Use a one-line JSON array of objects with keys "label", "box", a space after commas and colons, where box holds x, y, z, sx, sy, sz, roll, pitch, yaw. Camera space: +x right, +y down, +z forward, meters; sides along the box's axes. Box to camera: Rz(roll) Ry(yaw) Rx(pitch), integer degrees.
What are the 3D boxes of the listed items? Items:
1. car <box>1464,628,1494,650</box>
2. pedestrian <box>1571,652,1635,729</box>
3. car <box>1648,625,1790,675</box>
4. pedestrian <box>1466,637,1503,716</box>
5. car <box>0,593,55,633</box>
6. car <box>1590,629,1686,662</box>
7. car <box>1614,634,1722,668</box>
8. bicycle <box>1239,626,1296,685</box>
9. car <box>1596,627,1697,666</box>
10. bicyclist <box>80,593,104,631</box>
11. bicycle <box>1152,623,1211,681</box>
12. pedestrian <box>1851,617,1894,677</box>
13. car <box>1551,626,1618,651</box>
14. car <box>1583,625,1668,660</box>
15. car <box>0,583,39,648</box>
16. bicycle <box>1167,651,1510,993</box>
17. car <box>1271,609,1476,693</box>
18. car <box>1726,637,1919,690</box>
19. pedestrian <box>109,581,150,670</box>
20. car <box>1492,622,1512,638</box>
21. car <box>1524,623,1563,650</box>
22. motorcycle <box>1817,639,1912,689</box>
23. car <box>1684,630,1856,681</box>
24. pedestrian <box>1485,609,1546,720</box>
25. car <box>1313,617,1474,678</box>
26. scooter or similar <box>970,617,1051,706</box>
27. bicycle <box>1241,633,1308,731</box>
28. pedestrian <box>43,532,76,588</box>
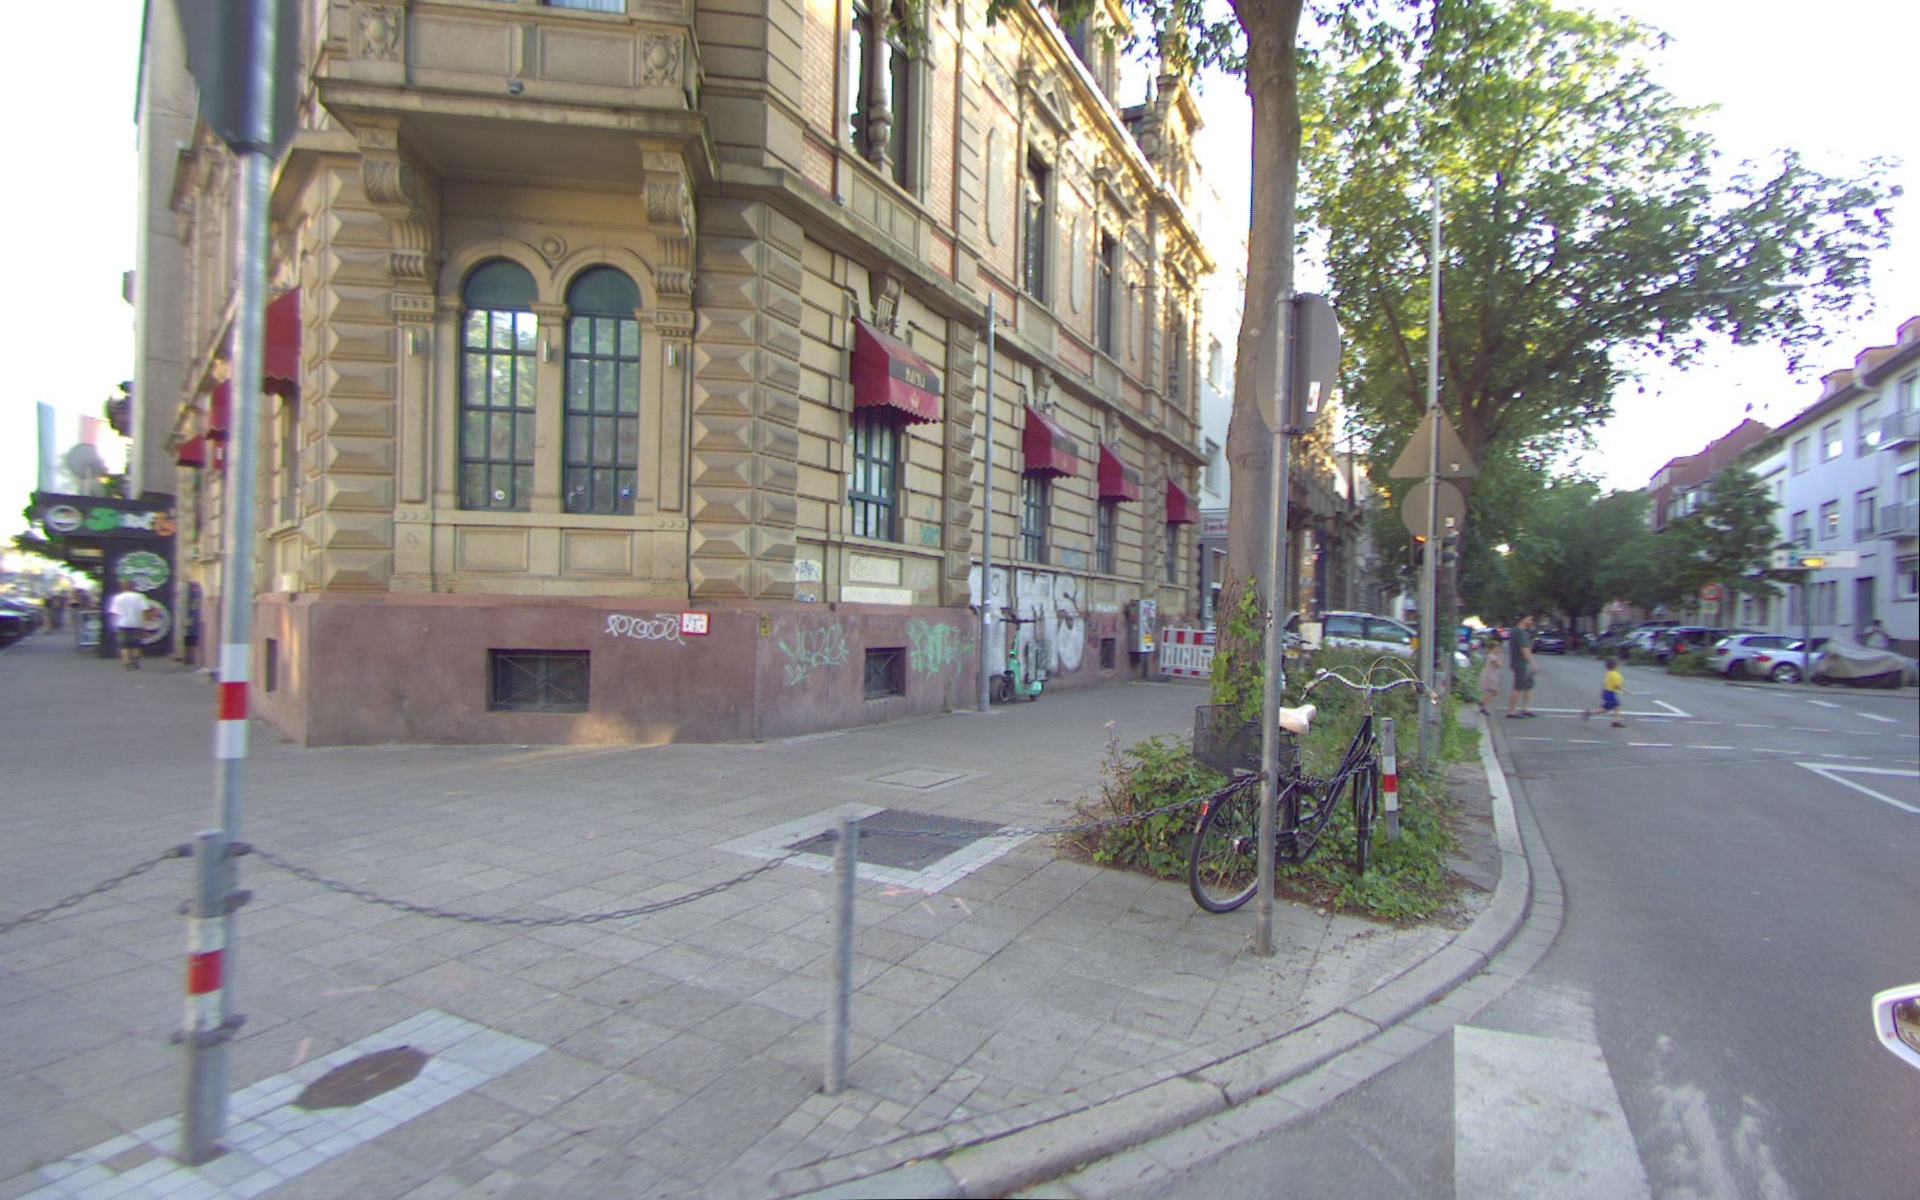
[{"label": "car", "box": [41.406, 3.075, 80.221, 1.874, 1.598, 3.989, 2, -1, 25]}, {"label": "pedestrian", "box": [10.228, 1.421, 16.009, 0.822, 1.136, 0.566, 1, 0, 32]}, {"label": "car", "box": [28.185, 1.837, 37.448, 3.953, 1.713, 1.705, 0, -1, 27]}, {"label": "pedestrian", "box": [9.356, 1.344, 17.910, 0.532, 1.353, 0.505, 1, 0, 32]}, {"label": "car", "box": [-44.839, 0.570, 45.960, 4.791, 1.797, 1.891, 2, -1, -34]}, {"label": "car", "box": [35.266, 2.349, 52.352, 3.953, 1.550, 1.705, 1, -1, 27]}, {"label": "car", "box": [33.387, 2.384, 47.520, 3.953, 1.428, 1.705, 0, -1, 27]}, {"label": "bicycle", "box": [6.872, 1.207, 22.367, 0.723, 1.202, 2.631, 3, 0, 27]}, {"label": "car", "box": [33.958, 2.267, 49.817, 3.953, 1.839, 1.705, 0, -1, 27]}, {"label": "bicyclist", "box": [-37.808, 0.540, 43.745, 0.762, 1.579, 0.803, 1, -5, -42]}, {"label": "bicycle", "box": [5.039, 1.143, 22.740, 0.627, 1.217, 2.560, 1, -1, 28]}, {"label": "pedestrian", "box": [29.355, 1.498, 32.318, 0.755, 1.865, 0.942, 1, 0, 27]}, {"label": "car", "box": [44.954, 2.750, 72.386, 3.953, 1.623, 1.705, 1, -1, 27]}, {"label": "car", "box": [38.826, 2.479, 58.701, 3.953, 1.854, 1.705, 1, -1, 27]}, {"label": "car", "box": [-28.338, 0.383, 27.070, 4.760, 1.756, 1.903, 1, -1, -15]}, {"label": "bicycle", "box": [2.084, 0.938, 5.210, 0.833, 1.284, 2.559, 0, -1, 41]}, {"label": "car", "box": [10.076, 1.203, 24.635, 4.476, 1.859, 1.832, 1, -1, 24]}, {"label": "car", "box": [24.832, 1.798, 29.103, 3.953, 1.360, 1.705, 0, -1, 28]}, {"label": "pedestrian", "box": [-15.489, 0.463, 18.740, 0.574, 1.630, 0.515, 0, 0, -40]}, {"label": "car", "box": [61.947, 3.439, 114.822, 1.895, 1.682, 3.996, 1, -1, 26]}, {"label": "car", "box": [38.061, 2.351, 65.565, 1.797, 1.582, 4.024, 2, 0, 25]}, {"label": "motorcycle", "box": [23.472, 1.654, 26.112, 1.776, 1.215, 0.611, 0, -1, 36]}, {"label": "car", "box": [25.466, 1.704, 31.748, 3.953, 1.461, 1.705, 0, -1, 27]}, {"label": "pedestrian", "box": [9.556, 1.087, 17.264, 0.875, 1.839, 0.792, 1, -1, 31]}, {"label": "car", "box": [13.497, 1.428, 31.338, 4.479, 1.711, 1.831, 0, -1, 28]}, {"label": "scooter or similar", "box": [0.726, 0.853, 14.158, 0.433, 1.183, 1.282, 3, 0, 38]}, {"label": "bicycle", "box": [4.255, 1.052, 13.498, 0.502, 1.169, 2.099, 3, 0, 26]}, {"label": "pedestrian", "box": [-22.383, -0.984, 24.975, 0.570, 1.326, 0.569, 2, -1, -40]}]
